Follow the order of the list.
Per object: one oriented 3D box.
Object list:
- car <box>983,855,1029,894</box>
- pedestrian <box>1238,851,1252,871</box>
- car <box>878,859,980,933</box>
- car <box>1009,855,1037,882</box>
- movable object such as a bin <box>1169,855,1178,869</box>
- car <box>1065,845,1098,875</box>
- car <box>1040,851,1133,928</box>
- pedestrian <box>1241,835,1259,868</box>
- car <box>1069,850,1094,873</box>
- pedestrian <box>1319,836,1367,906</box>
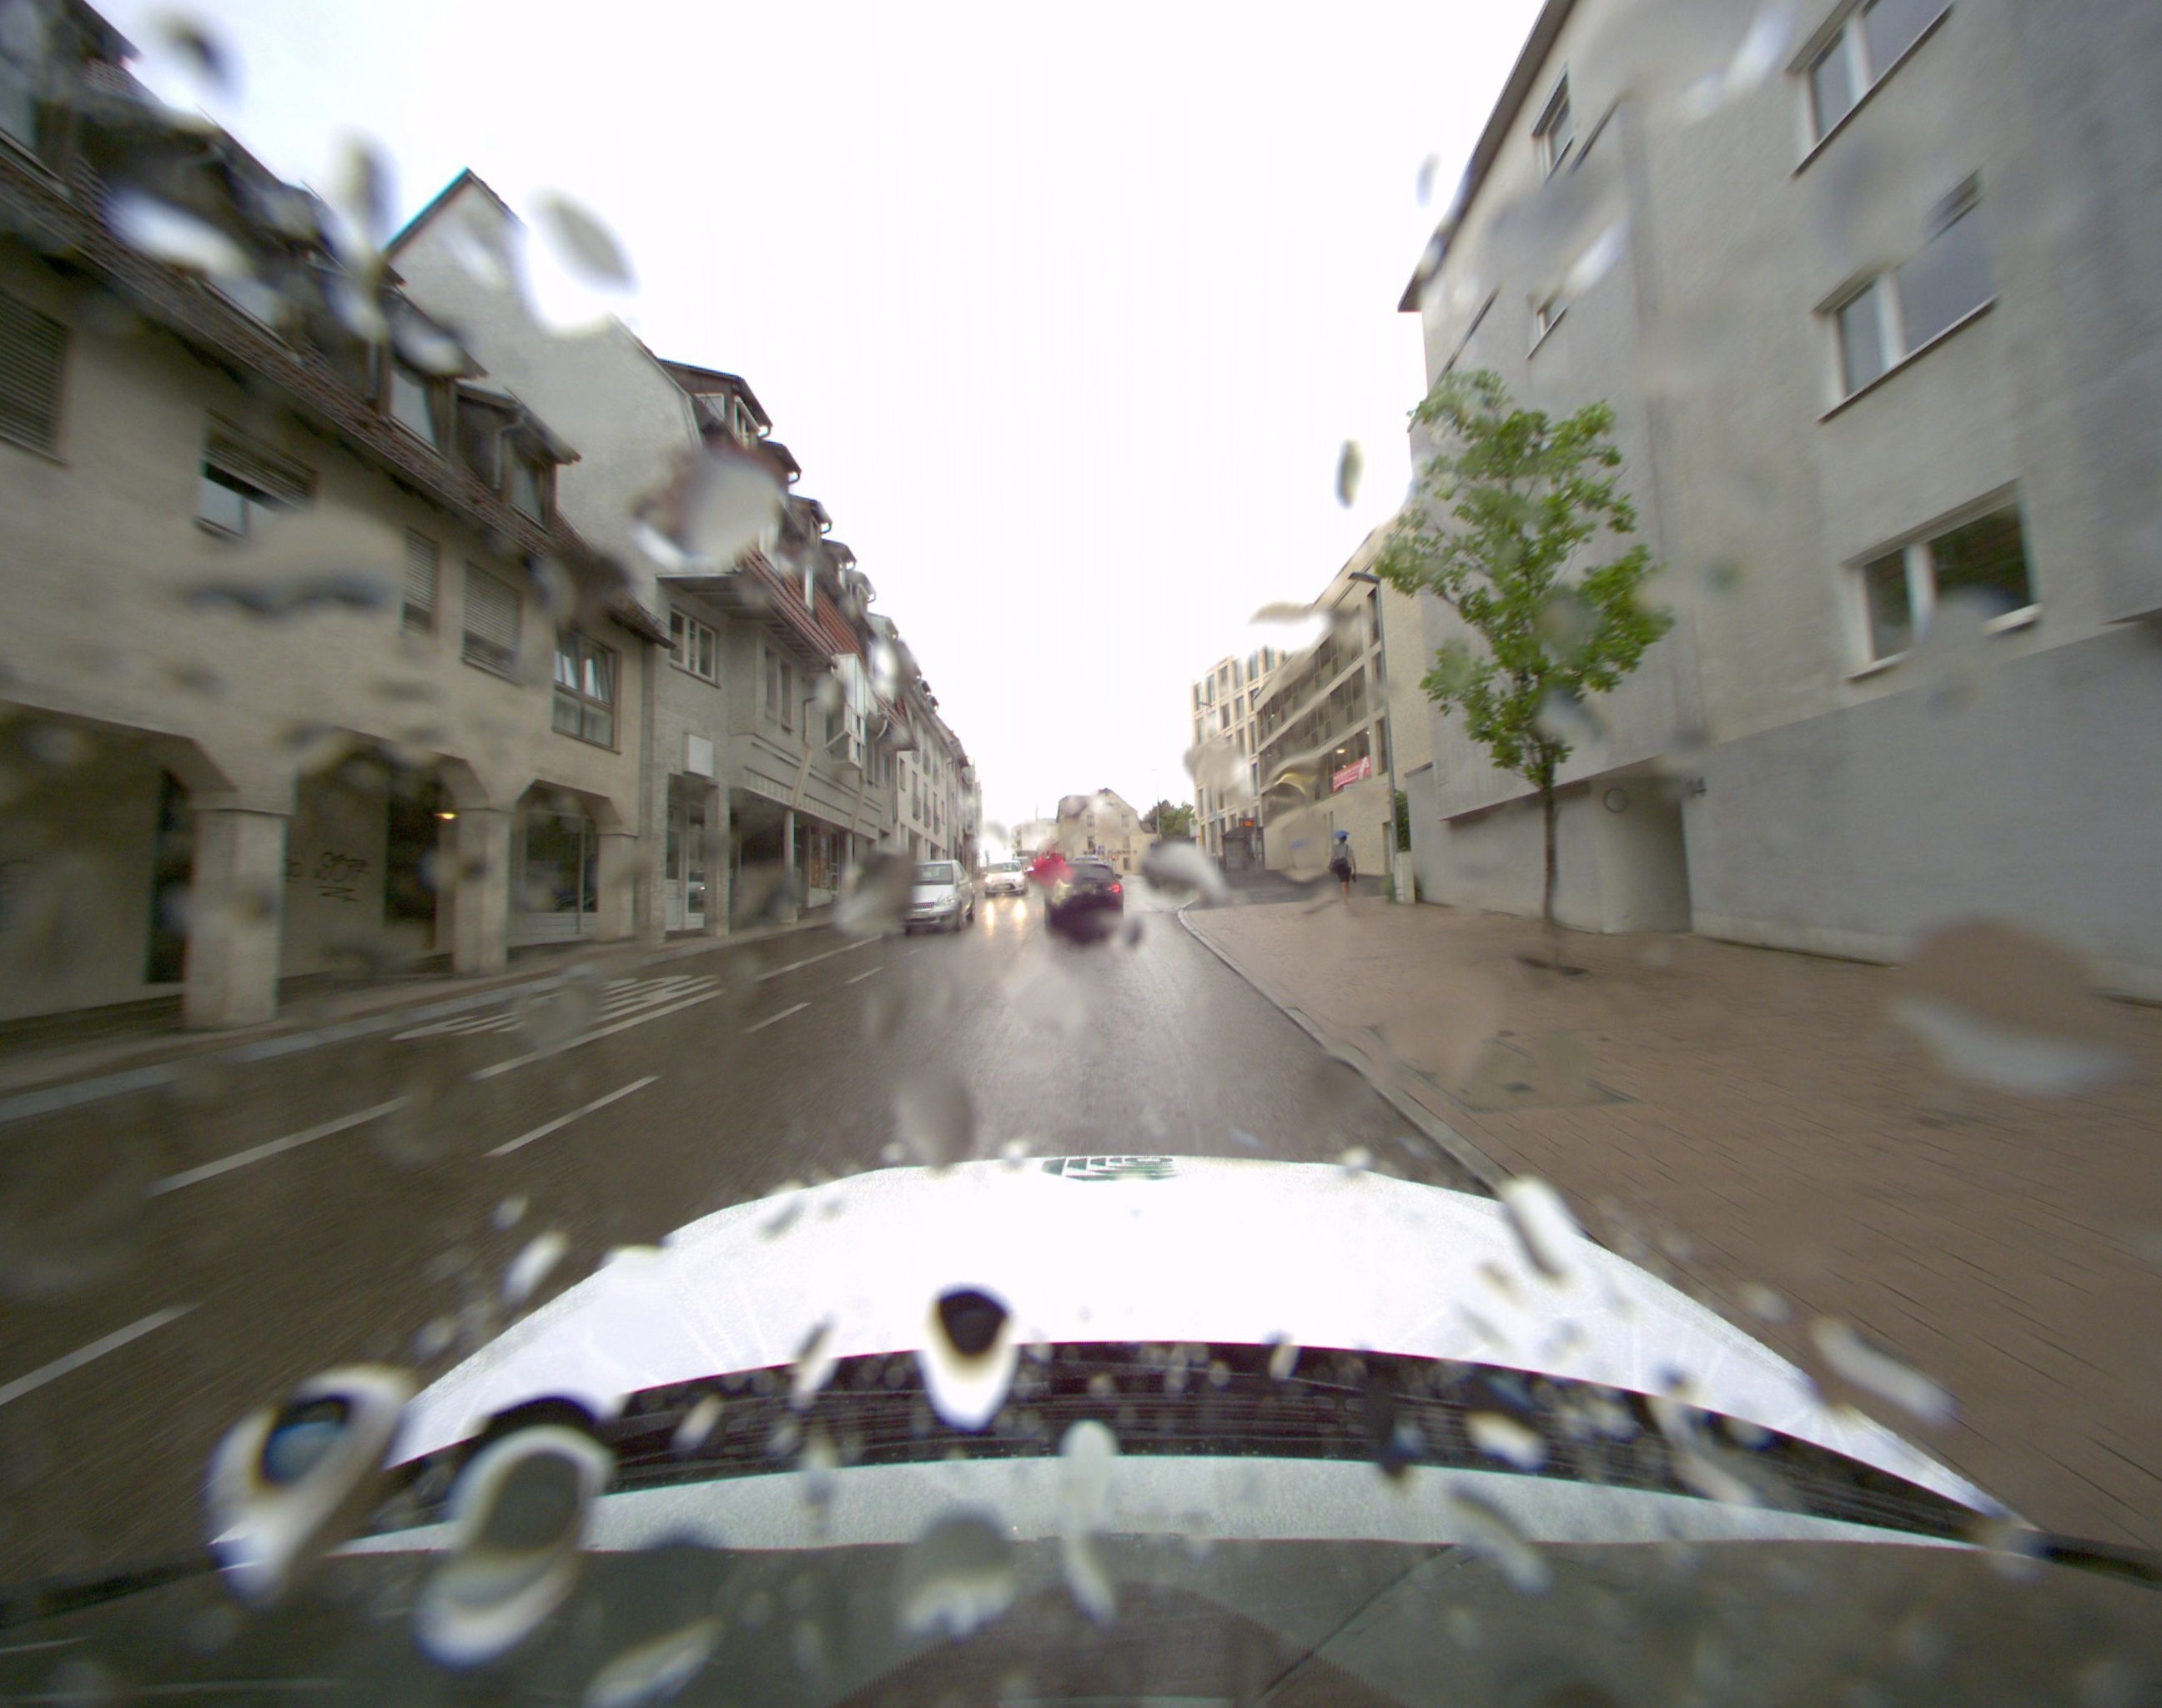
[{"bbox_3d":[-3.154,0.825,34.734,1.672,1.510,3.586,-2,0,-1],"label":"car"},{"bbox_3d":[10.140,0.419,50.406,0.669,1.162,0.635,-4,-1,1],"label":"pedestrian"},{"bbox_3d":[-3.480,0.902,19.224,1.672,1.510,3.588,-2,0,0],"label":"car"},{"bbox_3d":[-3.931,0.978,55.827,1.778,1.694,4.454,-2,0,-4],"label":"car"},{"bbox_3d":[6.990,0.591,61.464,0.593,1.062,0.579,-2,-1,0],"label":"movable object such as a bin"},{"bbox_3d":[-0.011,0.330,43.968,1.672,1.510,3.586,-2,0,-1],"label":"car"},{"bbox_3d":[0.059,0.763,19.584,1.939,1.567,4.414,-2,0,-2],"label":"car"},{"bbox_3d":[10.151,-0.150,48.900,0.779,1.940,1.021,-4,-1,1],"label":"pedestrian"},{"bbox_3d":[0.049,0.551,58.999,1.675,1.560,4.000,-3,0,1],"label":"car"},{"bbox_3d":[6.145,0.392,19.159,0.732,1.542,1.039,-5,-1,4],"label":"pedestrian"}]
